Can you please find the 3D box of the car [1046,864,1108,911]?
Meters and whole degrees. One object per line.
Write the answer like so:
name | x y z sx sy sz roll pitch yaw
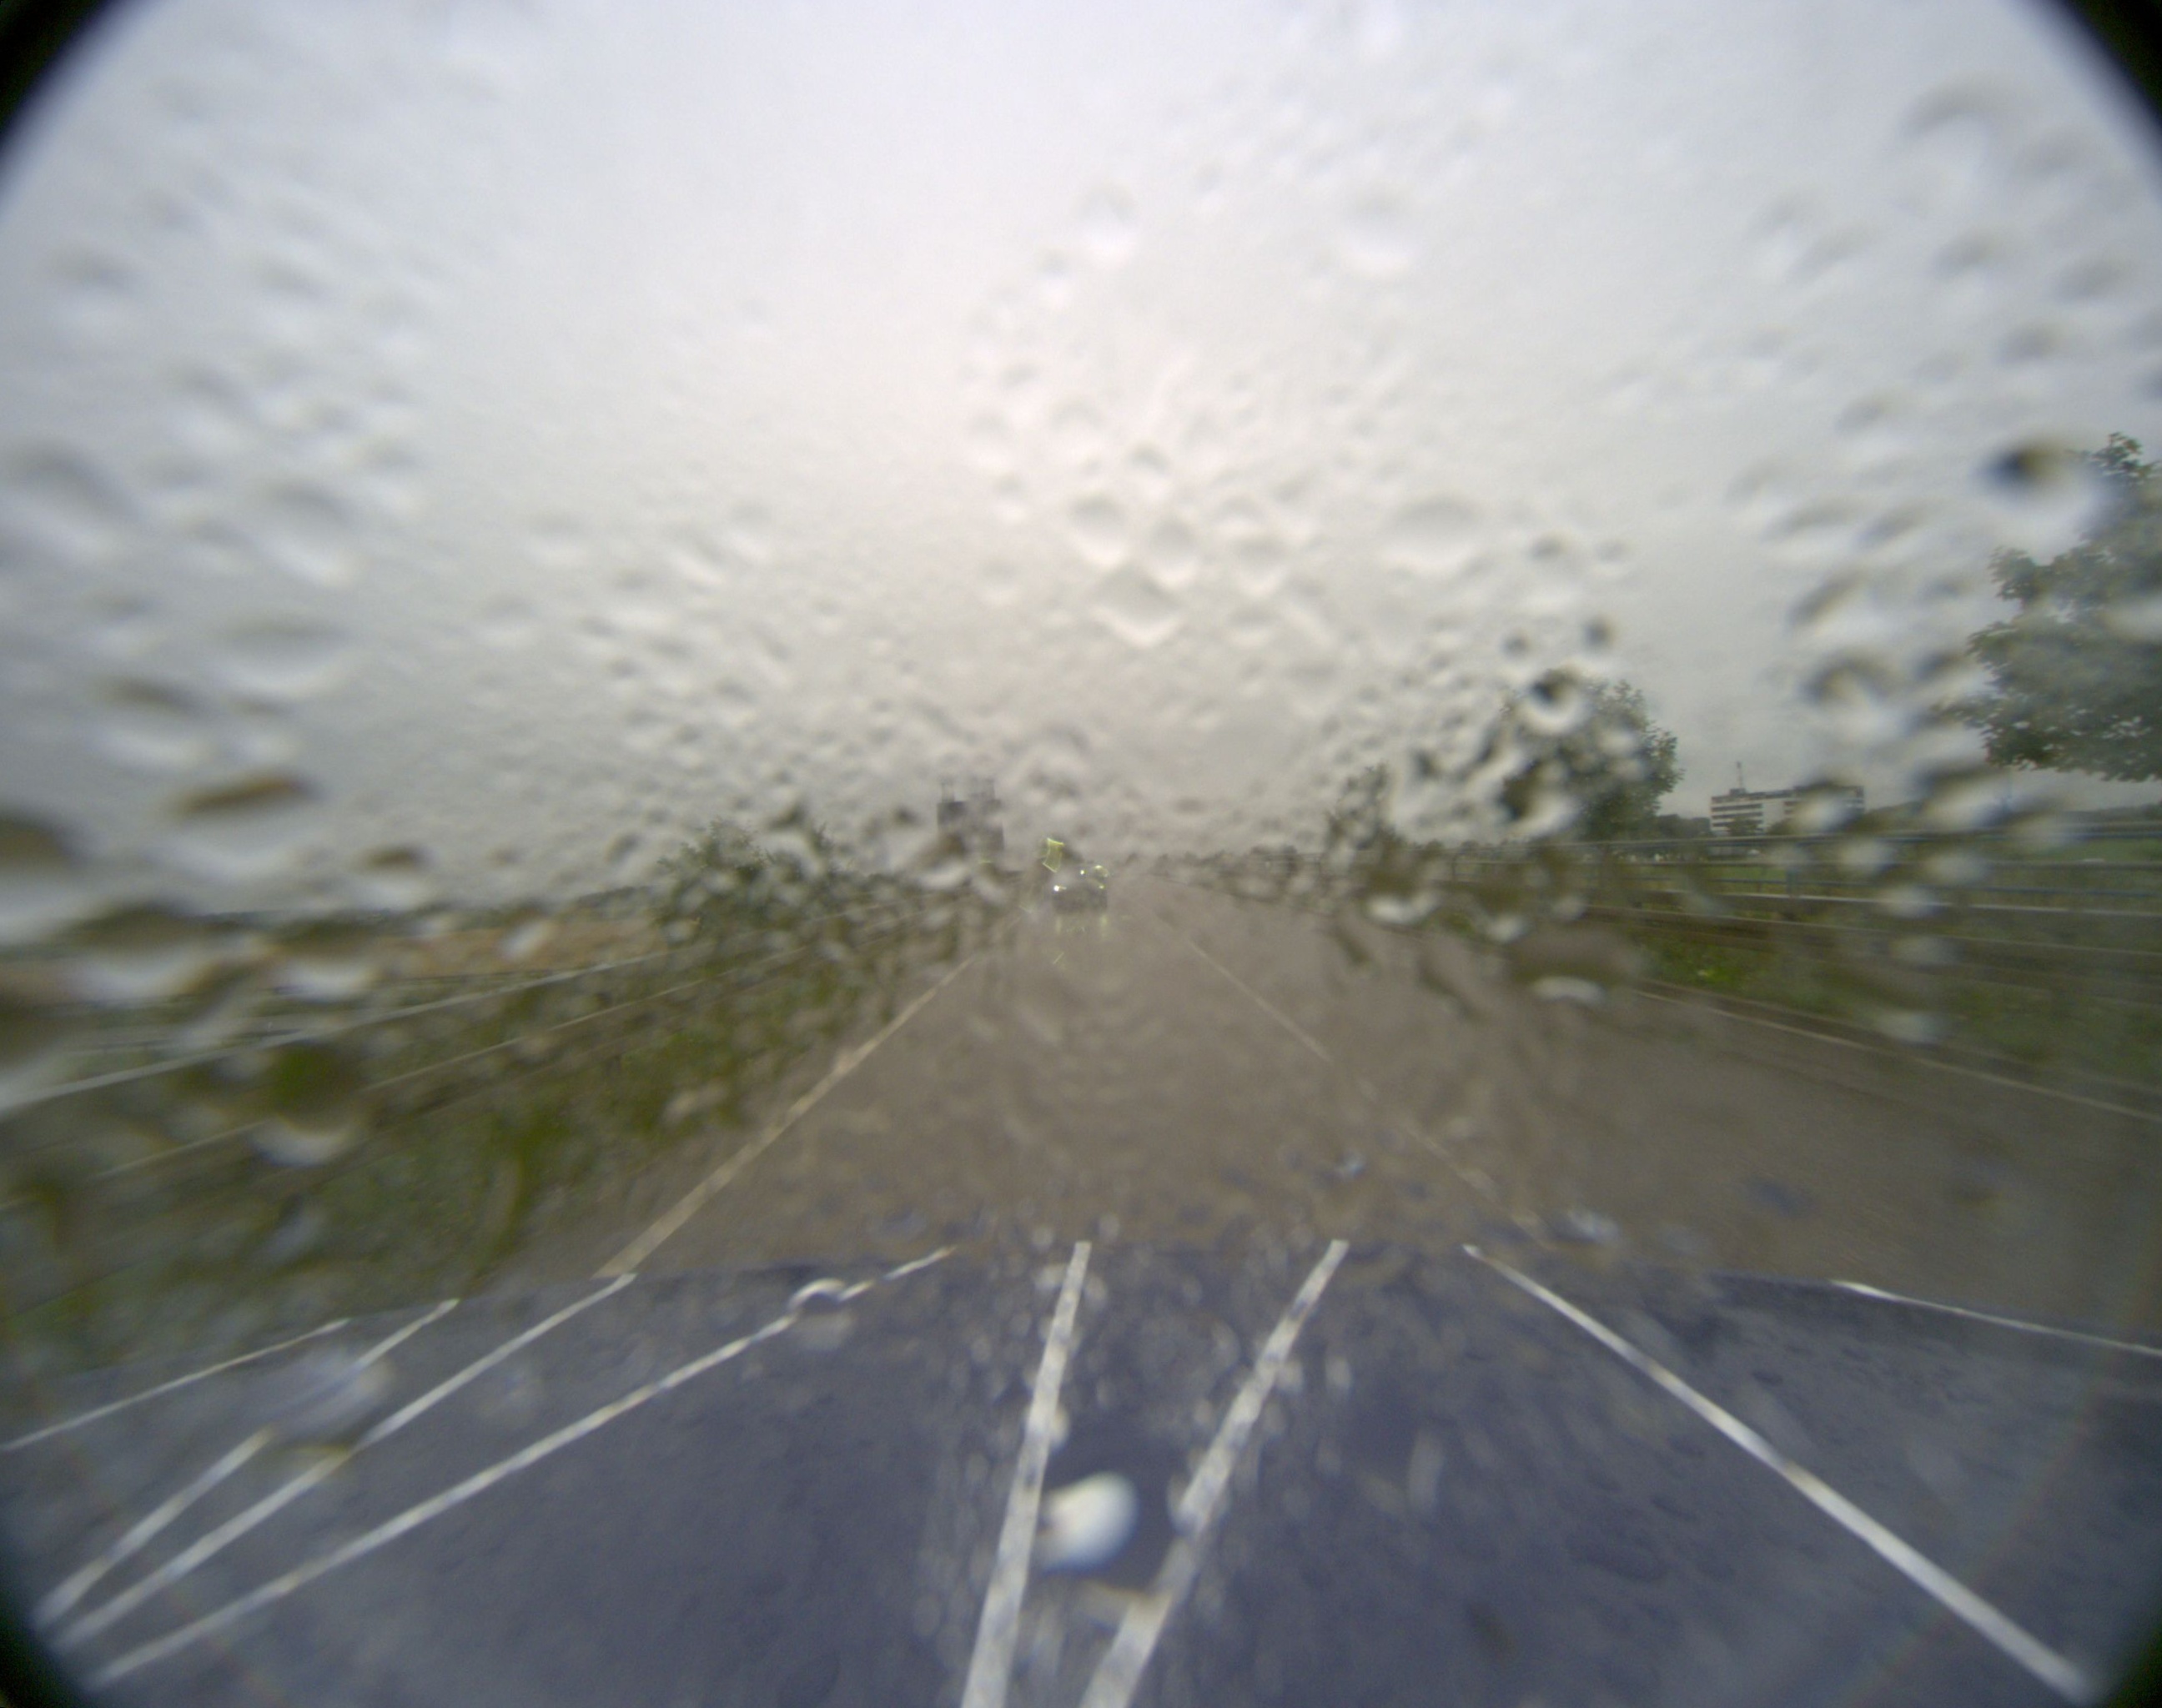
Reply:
car | -0.048 1.109 26.573 1.909 1.361 4.566 -2 0 2

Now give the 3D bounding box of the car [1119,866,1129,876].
car | 8.762 3.506 154.443 1.909 1.930 4.565 -3 0 1
